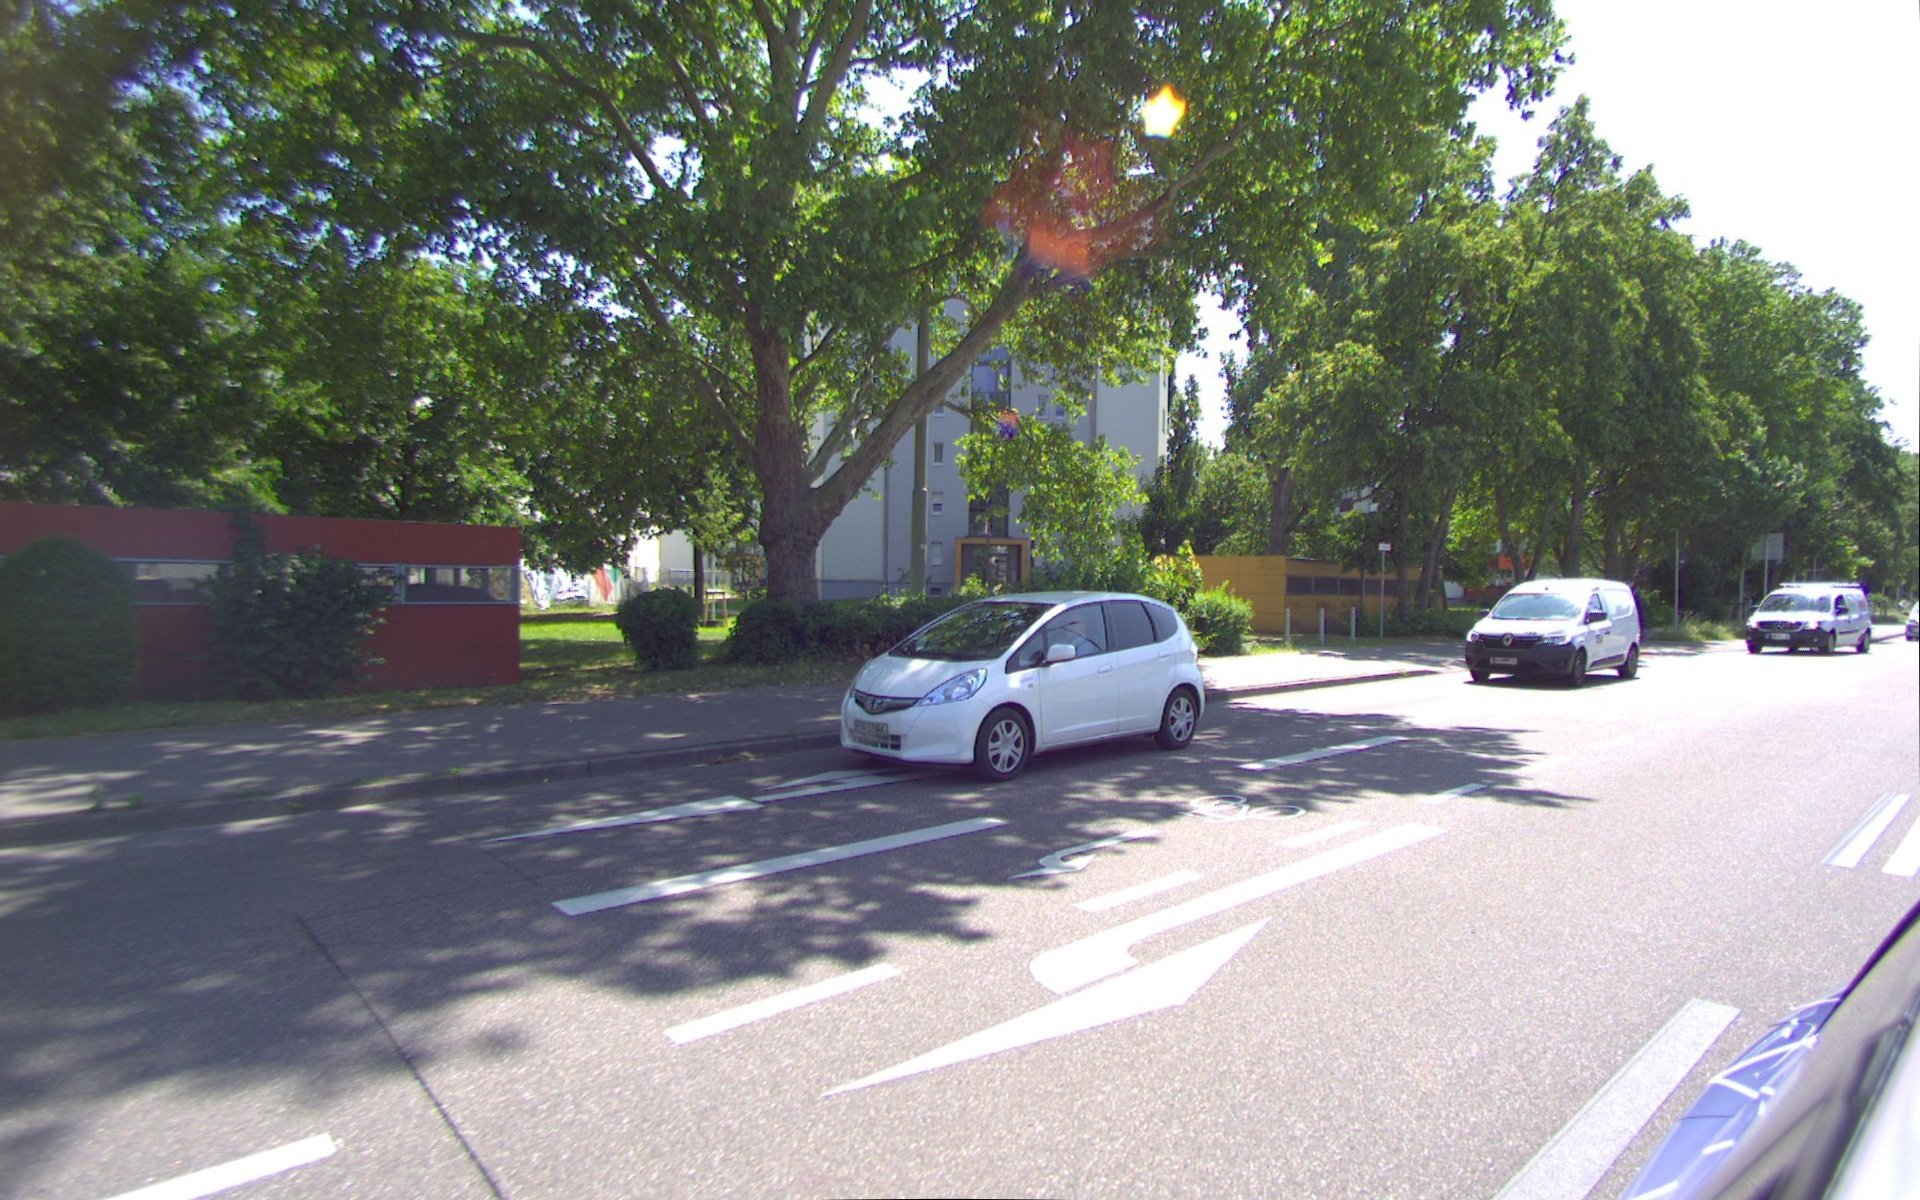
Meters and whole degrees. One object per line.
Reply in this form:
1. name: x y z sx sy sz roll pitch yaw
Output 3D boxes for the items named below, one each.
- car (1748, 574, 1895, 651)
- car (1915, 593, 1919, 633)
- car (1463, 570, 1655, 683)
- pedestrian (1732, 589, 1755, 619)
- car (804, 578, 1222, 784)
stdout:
1. car: 23.154 0.305 27.150 4.986 1.879 1.810 0 0 -35
2. car: 36.259 0.463 36.964 3.436 1.459 1.625 0 0 -40
3. car: 10.718 0.411 17.969 4.351 1.769 1.712 0 0 -42
4. pedestrian: 36.914 0.180 47.699 0.749 1.416 0.709 0 -1 -40
5. car: 0.623 0.591 9.367 3.813 1.507 1.722 0 0 -43
